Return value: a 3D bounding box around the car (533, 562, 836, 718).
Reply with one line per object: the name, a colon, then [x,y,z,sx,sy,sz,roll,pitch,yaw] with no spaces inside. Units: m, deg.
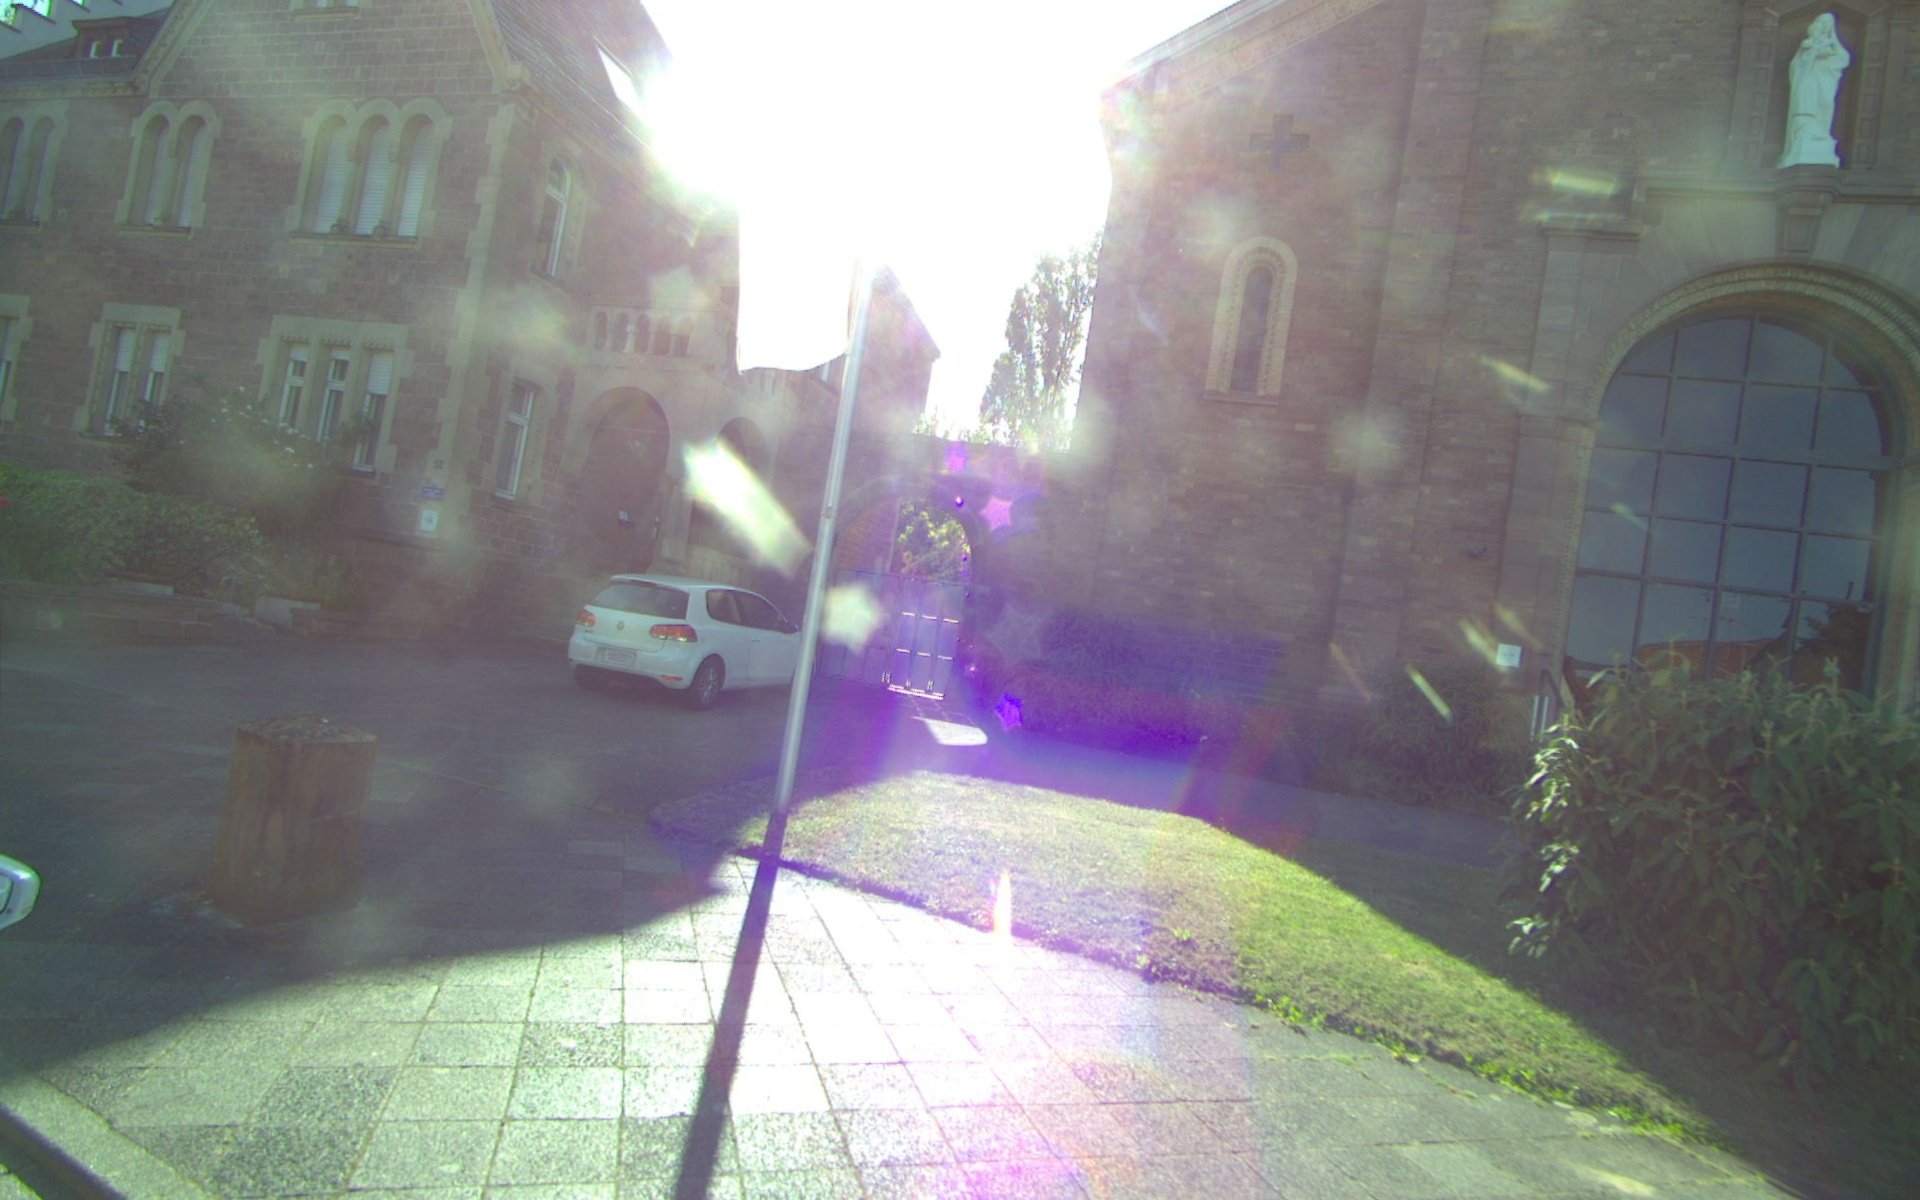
car: [-3.339,0.513,13.070,1.869,1.514,3.912,7,0,17]
